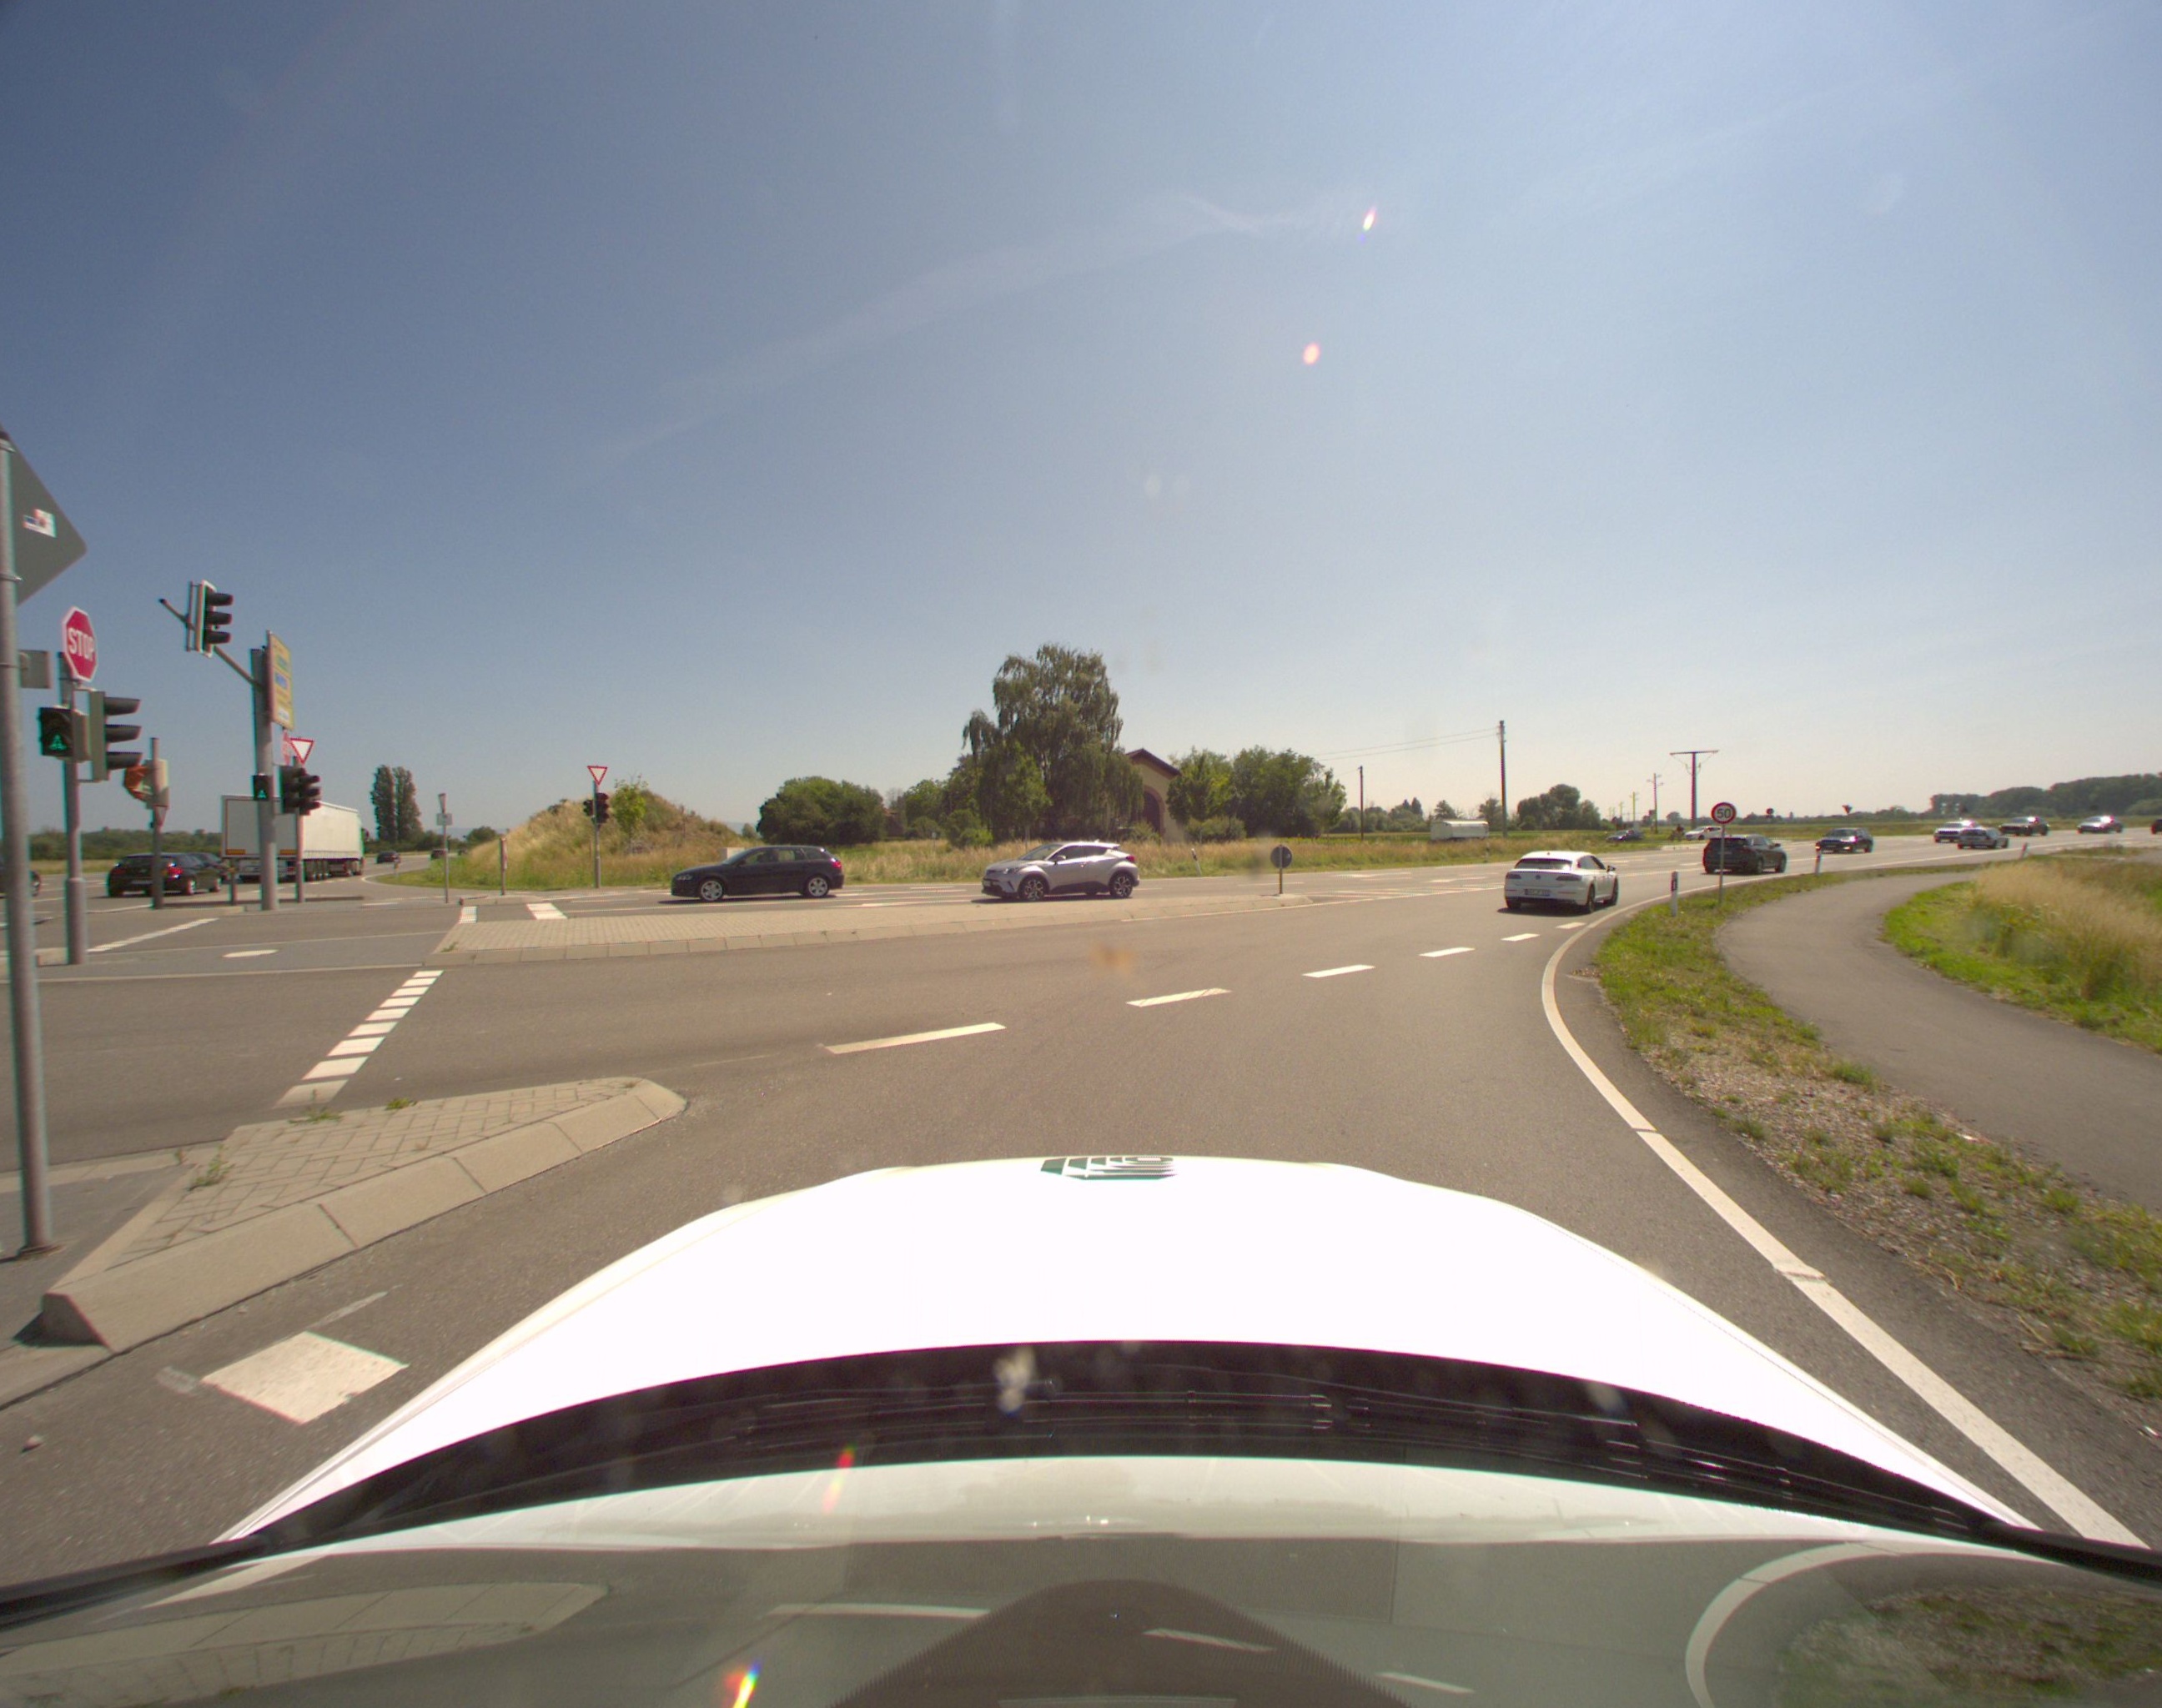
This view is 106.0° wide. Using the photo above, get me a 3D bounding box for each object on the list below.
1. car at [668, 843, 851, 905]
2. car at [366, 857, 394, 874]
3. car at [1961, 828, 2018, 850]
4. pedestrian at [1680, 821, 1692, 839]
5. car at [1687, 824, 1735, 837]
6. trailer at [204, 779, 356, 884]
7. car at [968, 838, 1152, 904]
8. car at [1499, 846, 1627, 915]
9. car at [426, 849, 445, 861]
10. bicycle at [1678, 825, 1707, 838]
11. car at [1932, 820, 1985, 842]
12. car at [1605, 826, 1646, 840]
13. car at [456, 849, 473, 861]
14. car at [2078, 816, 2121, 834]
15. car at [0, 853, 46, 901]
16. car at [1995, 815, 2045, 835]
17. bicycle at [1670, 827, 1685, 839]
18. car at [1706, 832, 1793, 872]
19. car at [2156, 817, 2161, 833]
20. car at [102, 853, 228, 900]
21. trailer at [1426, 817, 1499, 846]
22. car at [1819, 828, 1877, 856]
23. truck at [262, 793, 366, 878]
[{"bbox_3d":[-8.418,0.447,21.408,4.286,1.368,1.760,-2,2,-29],"label":"car"},{"bbox_3d":[-80.225,1.254,93.287,1.995,1.894,4.418,0,0,-35],"label":"car"},{"bbox_3d":[61.736,-0.995,55.323,4.105,1.429,1.788,0,0,-30],"label":"car"},{"bbox_3d":[60.043,-2.388,80.791,0.847,1.785,0.606,-1,2,-22],"label":"pedestrian"},{"bbox_3d":[66.647,-2.501,86.165,4.018,1.332,1.694,0,2,-6],"label":"car"},{"bbox_3d":[-40.188,-0.968,41.454,3.406,4.542,12.733,0,0,-35],"label":"trailer"},{"bbox_3d":[-0.526,0.368,21.603,4.563,1.543,1.854,-1,2,-29],"label":"car"},{"bbox_3d":[12.133,0.563,20.352,1.831,1.433,4.636,2,2,42],"label":"car"},{"bbox_3d":[-95.239,0.183,120.255,1.956,1.768,4.418,0,0,-35],"label":"car"},{"bbox_3d":[71.979,-2.652,95.915,0.907,1.372,2.585,1,-2,-43],"label":"bicycle"},{"bbox_3d":[70.236,-1.867,65.169,4.858,1.650,1.866,-1,3,-31],"label":"car"},{"bbox_3d":[54.047,-2.127,80.824,3.844,1.387,1.666,-1,2,-24],"label":"car"},{"bbox_3d":[-94.251,0.170,124.539,1.995,1.869,4.418,0,0,-35],"label":"car"},{"bbox_3d":[96.130,-2.708,76.863,4.425,1.556,1.722,0,0,-28],"label":"car"},{"bbox_3d":[-33.792,0.706,24.537,1.902,1.447,4.478,0,0,-34],"label":"car"},{"bbox_3d":[86.077,-2.639,74.653,4.425,1.724,2.067,0,0,-28],"label":"car"},{"bbox_3d":[59.397,-2.102,81.135,1.512,1.247,0.489,-1,2,-23],"label":"bicycle"},{"bbox_3d":[28.708,-0.078,34.932,4.398,1.616,1.919,0,0,-37],"label":"car"},{"bbox_3d":[98.015,-2.593,72.655,4.424,1.476,1.790,0,0,-27],"label":"car"},{"bbox_3d":[-30.637,0.681,27.393,1.797,1.430,4.334,0,0,-34],"label":"car"},{"bbox_3d":[34.791,-2.078,74.247,6.398,2.455,2.663,-2,2,-28],"label":"trailer"},{"bbox_3d":[49.552,-0.814,52.574,4.345,1.650,1.852,-2,2,-34],"label":"car"},{"bbox_3d":[-44.051,-0.975,47.012,3.406,4.542,6.304,0,0,-35],"label":"truck"}]
